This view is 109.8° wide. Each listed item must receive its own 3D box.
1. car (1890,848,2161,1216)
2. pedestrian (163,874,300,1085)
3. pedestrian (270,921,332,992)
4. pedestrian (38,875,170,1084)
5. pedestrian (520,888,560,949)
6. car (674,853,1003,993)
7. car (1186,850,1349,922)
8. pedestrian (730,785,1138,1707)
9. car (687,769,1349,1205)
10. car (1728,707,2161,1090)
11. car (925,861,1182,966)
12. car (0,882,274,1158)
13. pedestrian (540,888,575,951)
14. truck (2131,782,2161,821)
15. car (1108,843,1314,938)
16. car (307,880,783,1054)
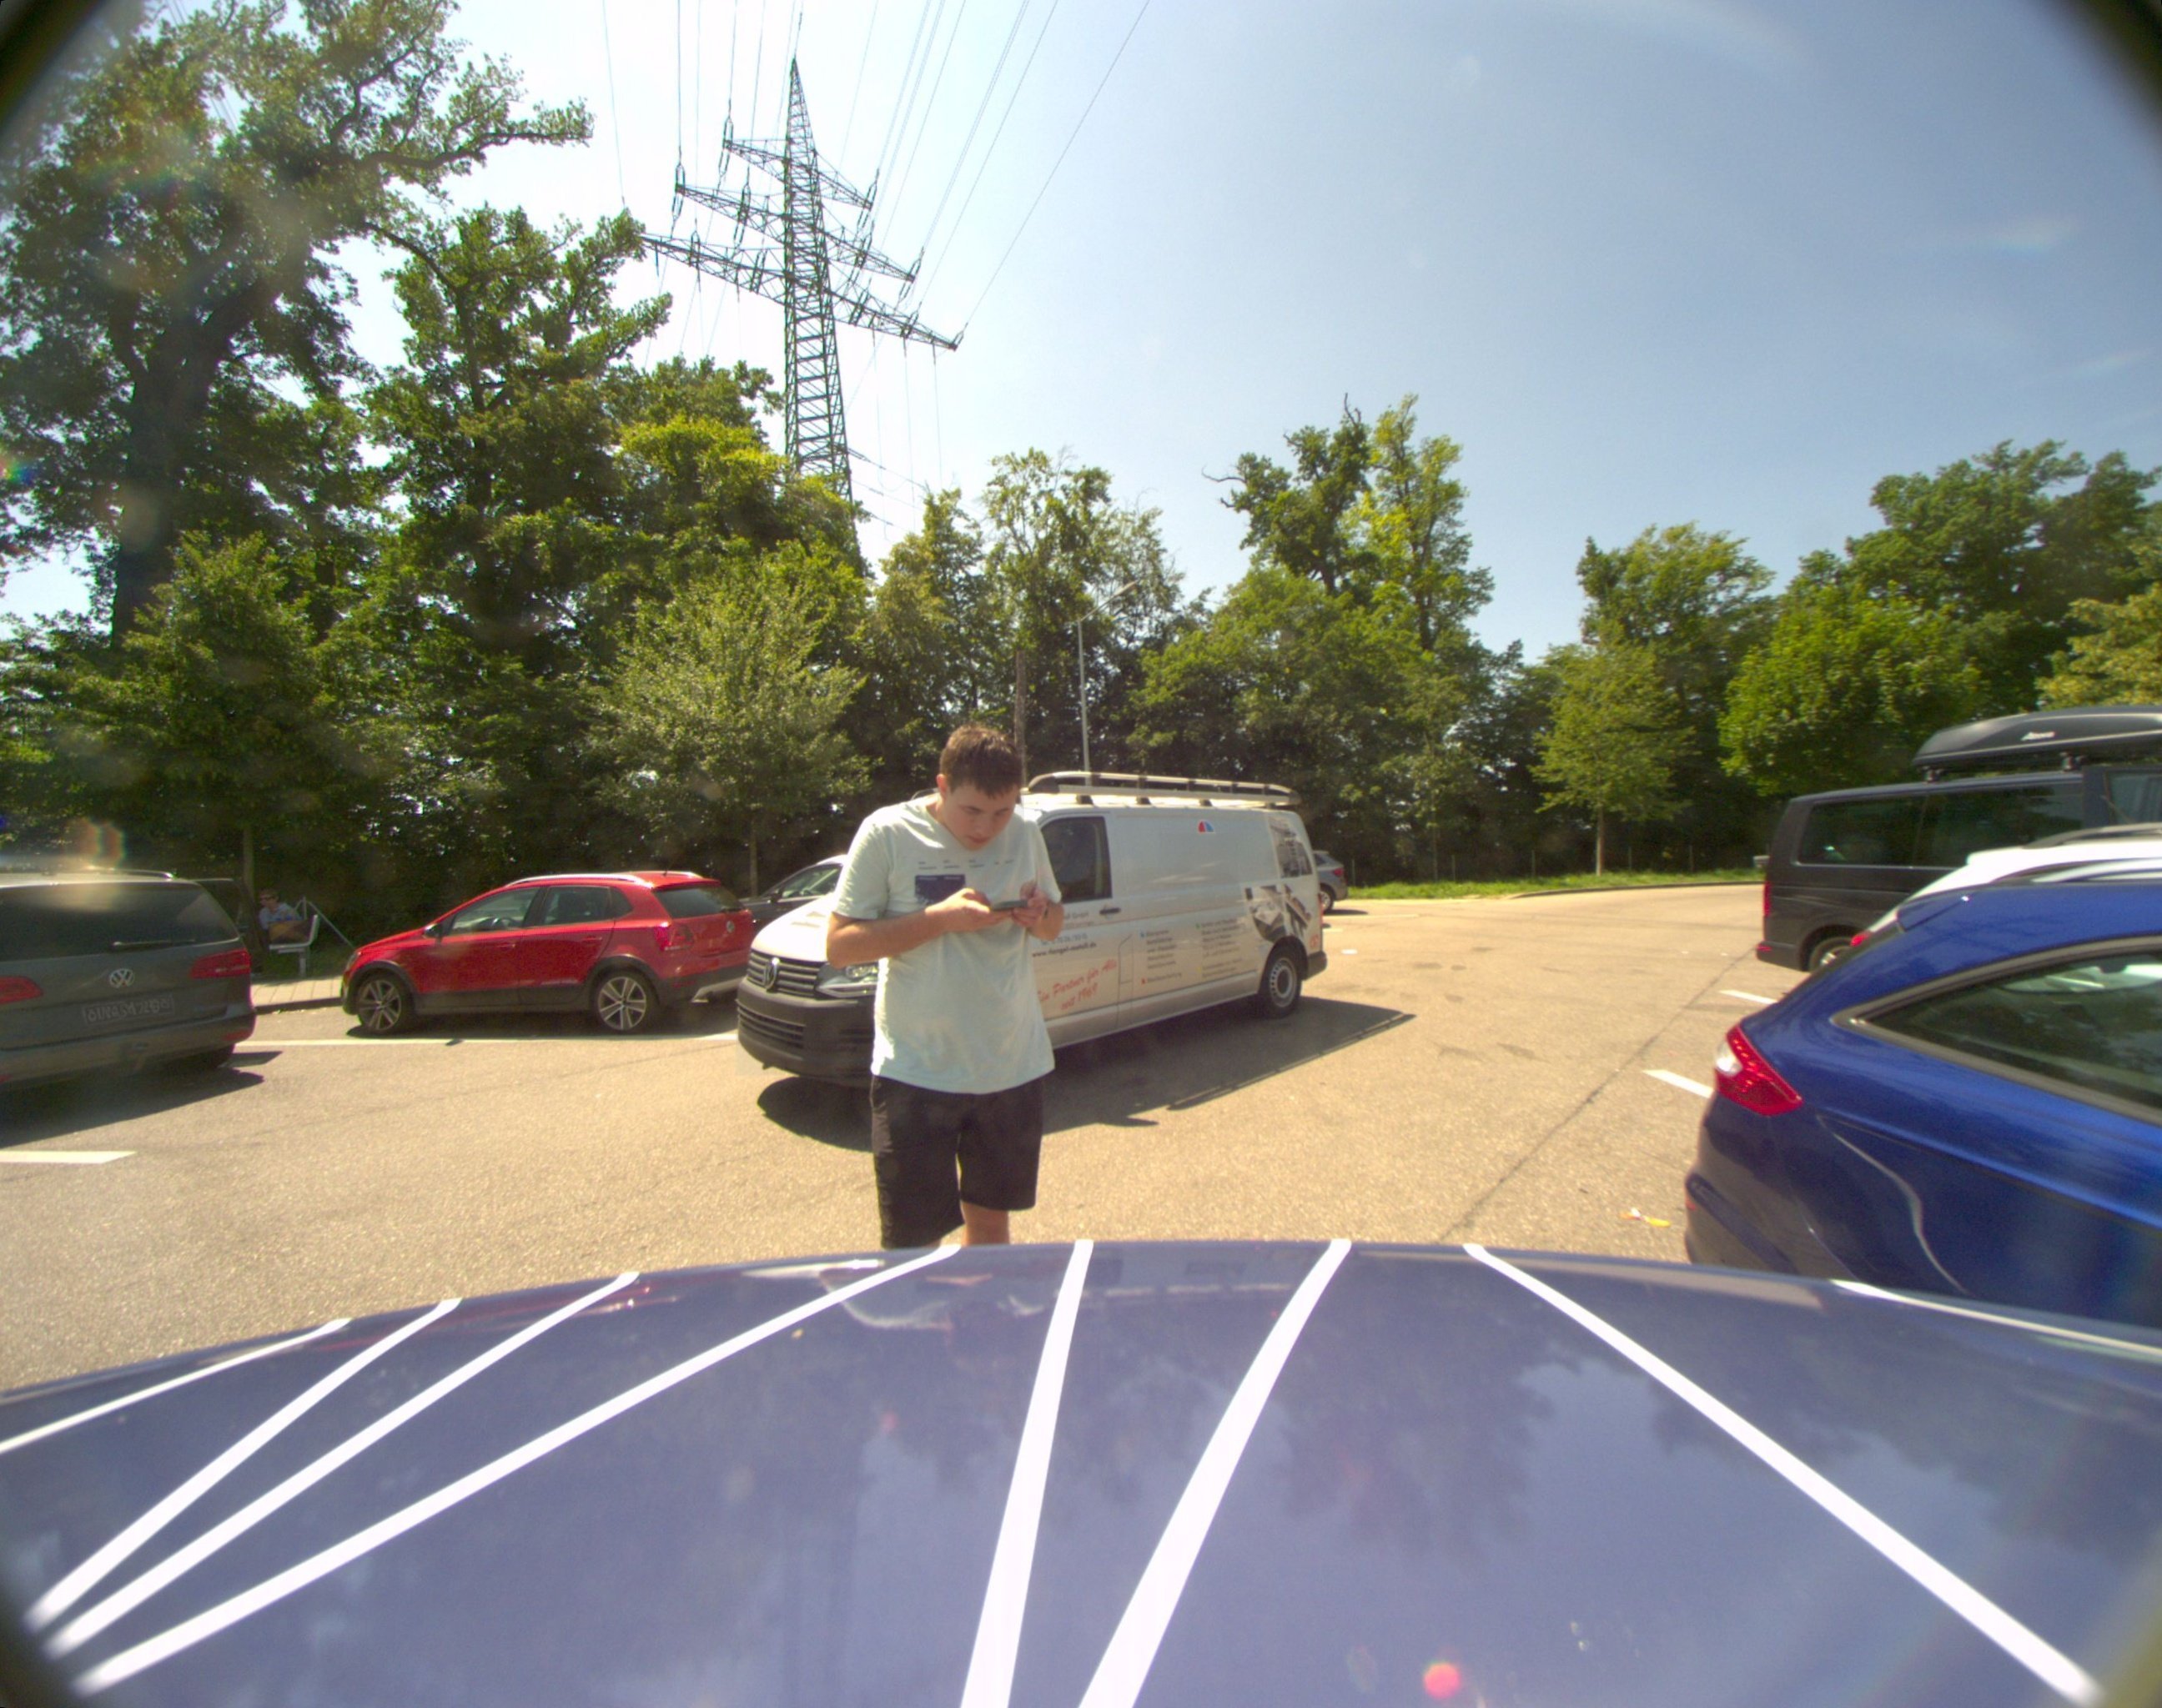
[{"bbox_3d":[4.704,0.658,2.223,1.344,1.352,3.114,-2,0,1],"label":"car"},{"bbox_3d":[-7.353,1.048,6.596,0.481,1.712,0.589,-2,1,22],"label":"pedestrian"},{"bbox_3d":[-10.828,1.411,10.562,0.503,0.874,0.512,-3,1,-39],"label":"pedestrian"},{"bbox_3d":[-8.459,1.054,6.590,0.436,1.712,0.511,-2,1,17],"label":"pedestrian"},{"bbox_3d":[-10.936,1.293,15.374,0.413,1.186,0.443,-2,1,12],"label":"pedestrian"},{"bbox_3d":[-3.108,0.869,10.316,3.866,1.607,1.709,-2,0,0],"label":"car"},{"bbox_3d":[4.337,0.734,18.127,3.585,1.493,1.707,-2,1,8],"label":"car"},{"bbox_3d":[-0.373,0.780,1.862,0.741,1.818,0.613,-2,0,-34],"label":"pedestrian"},{"bbox_3d":[0.045,0.603,6.211,5.445,2.092,1.839,-2,1,-45],"label":"car"},{"bbox_3d":[7.311,0.253,5.326,1.788,2.304,4.084,-2,0,-5],"label":"car"},{"bbox_3d":[-0.353,0.903,12.176,3.773,1.445,1.848,-2,0,4],"label":"car"},{"bbox_3d":[-8.383,1.100,5.421,3.903,1.607,1.705,-2,1,11],"label":"car"},{"bbox_3d":[-10.144,1.268,14.722,0.366,1.186,0.356,-2,1,21],"label":"pedestrian"},{"bbox_3d":[40.196,-1.975,27.160,1.168,1.367,2.882,-2,-1,-19],"label":"truck"},{"bbox_3d":[2.537,0.702,15.373,3.850,1.678,1.755,-2,0,4],"label":"car"},{"bbox_3d":[-5.219,1.068,7.661,3.745,1.458,1.621,-2,0,7],"label":"car"}]
